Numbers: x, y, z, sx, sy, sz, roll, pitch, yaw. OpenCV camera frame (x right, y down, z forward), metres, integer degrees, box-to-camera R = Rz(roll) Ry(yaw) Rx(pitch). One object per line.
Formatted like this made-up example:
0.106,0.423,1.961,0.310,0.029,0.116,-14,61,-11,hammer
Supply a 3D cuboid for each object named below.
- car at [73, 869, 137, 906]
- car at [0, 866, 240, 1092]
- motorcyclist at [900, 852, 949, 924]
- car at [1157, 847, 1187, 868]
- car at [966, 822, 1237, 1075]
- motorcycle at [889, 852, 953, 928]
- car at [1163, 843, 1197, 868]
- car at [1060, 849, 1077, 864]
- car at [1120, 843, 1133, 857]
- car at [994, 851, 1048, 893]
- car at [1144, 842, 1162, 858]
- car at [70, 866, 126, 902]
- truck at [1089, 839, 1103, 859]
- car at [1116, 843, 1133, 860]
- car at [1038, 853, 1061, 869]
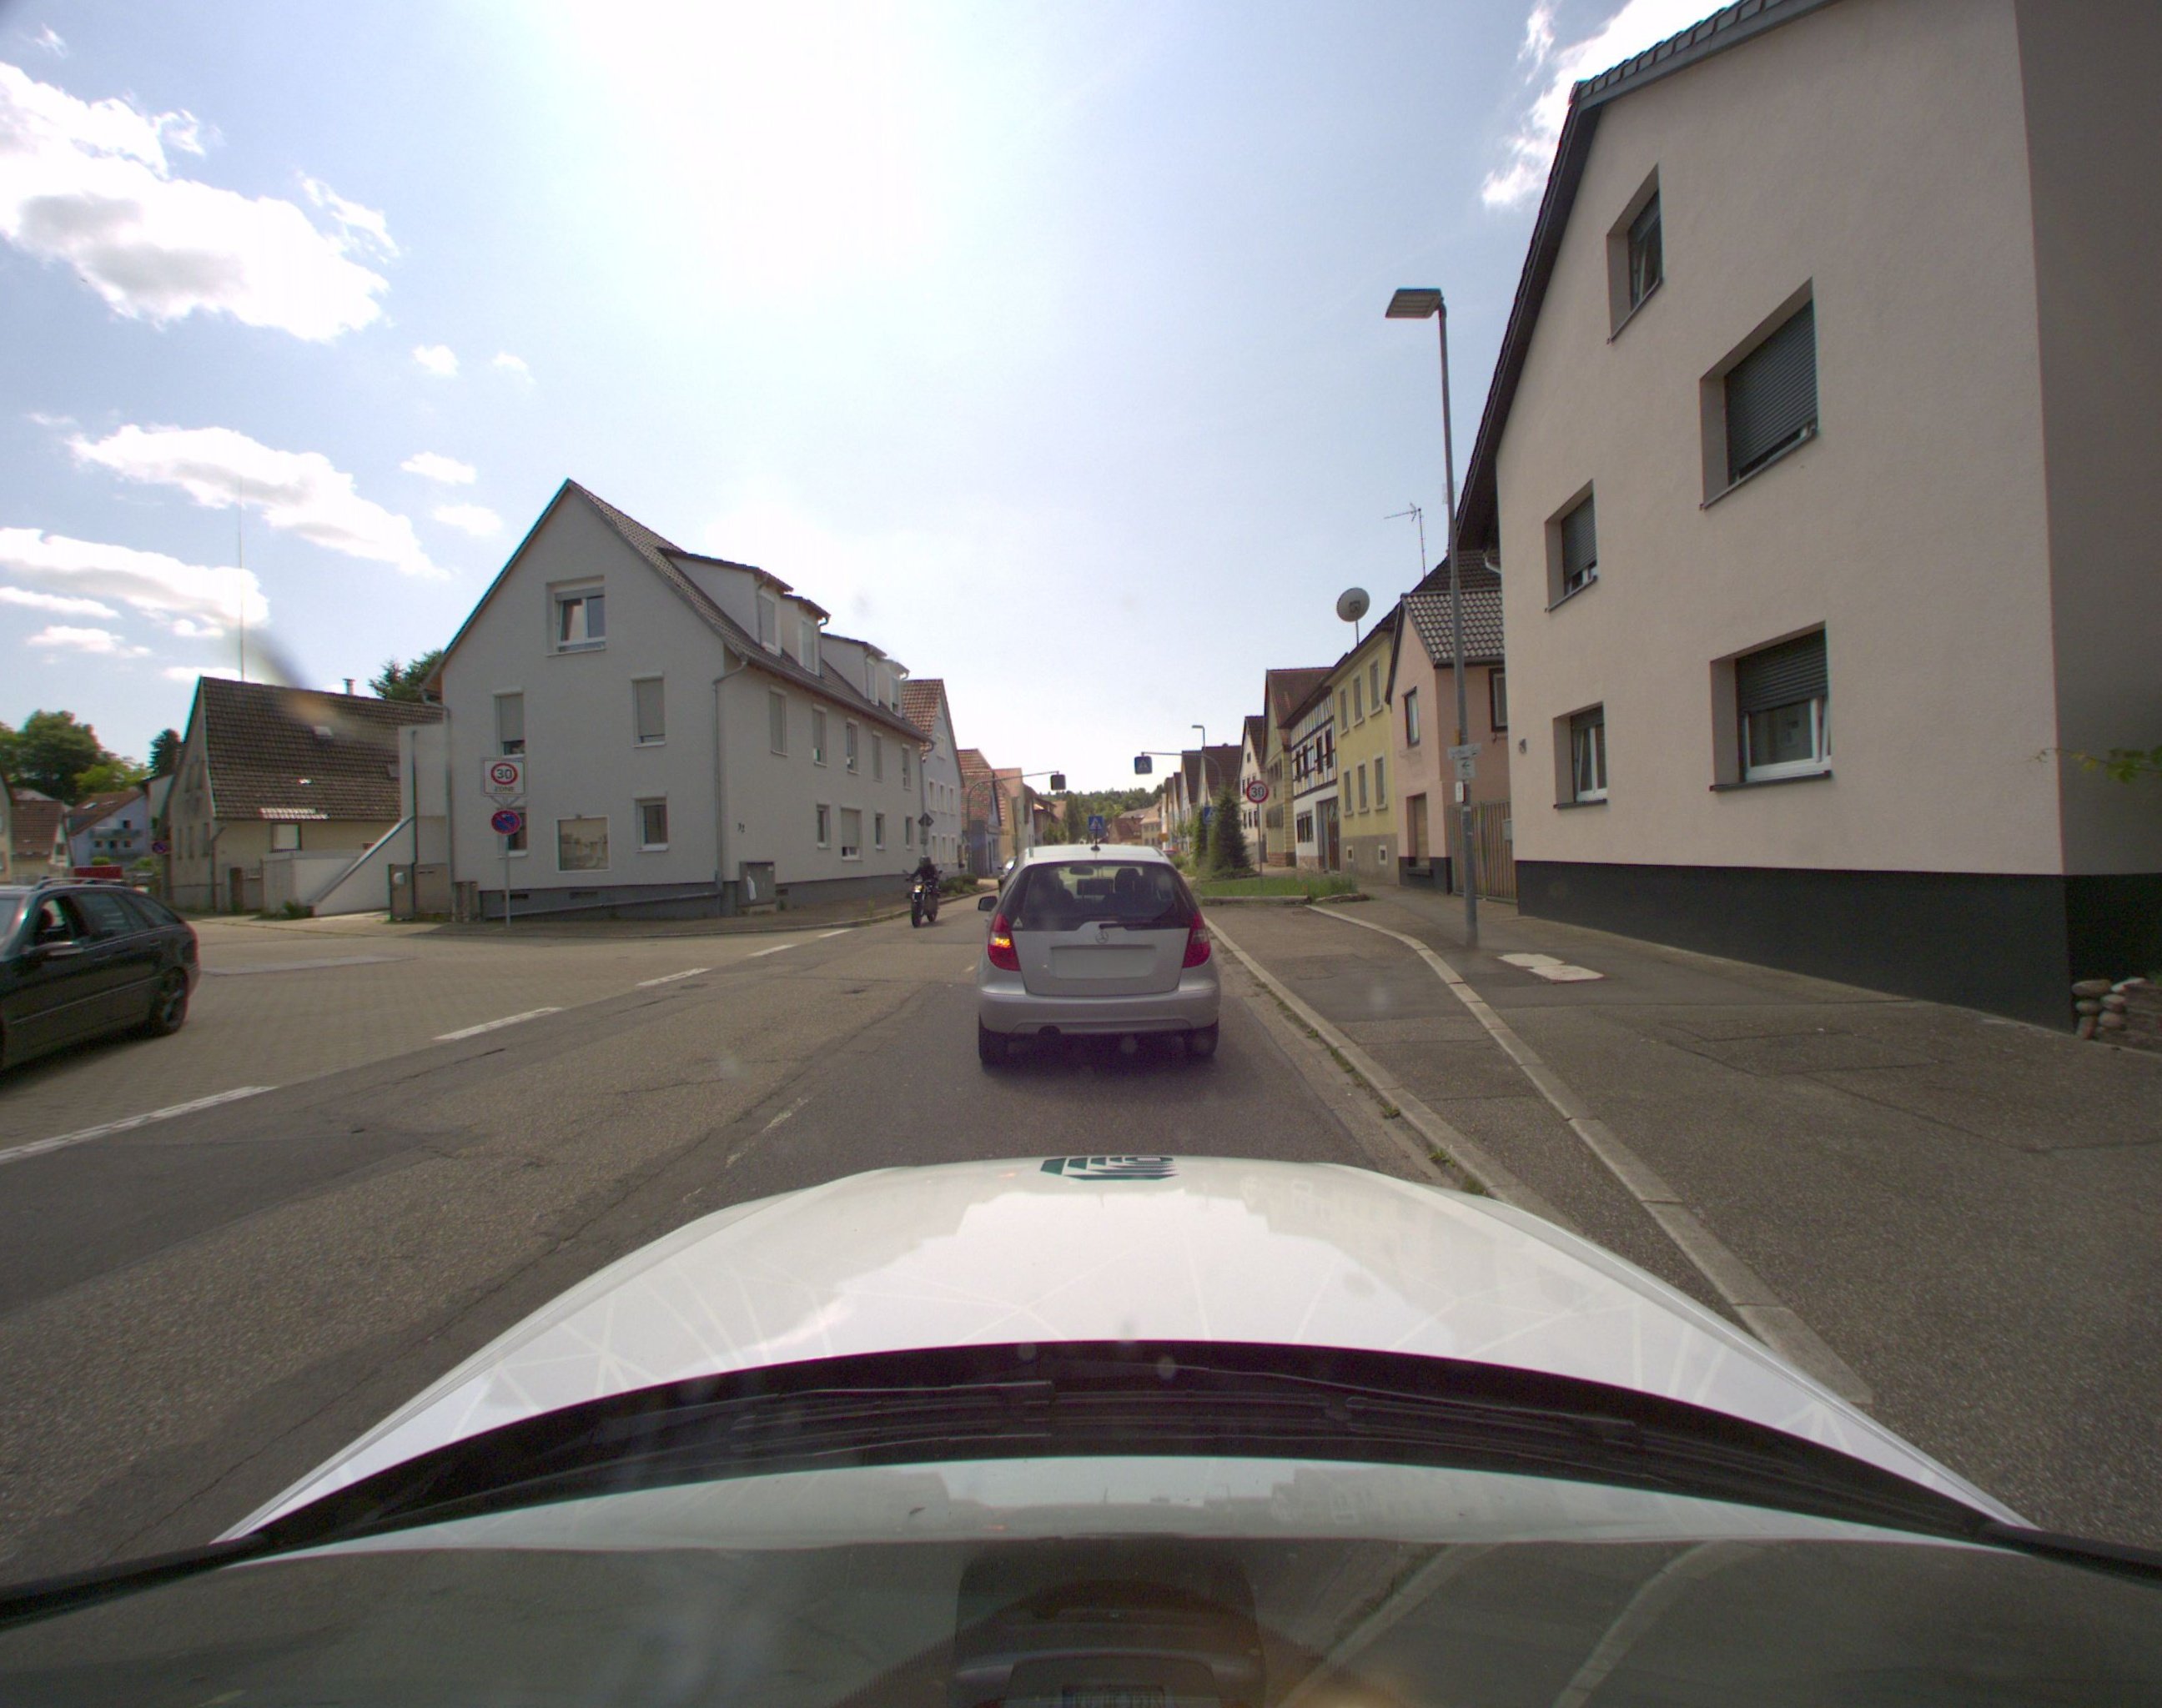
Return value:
-41.998,1.436,35.018,3.431,1.530,1.500,-3,-2,36,car
-8.259,0.840,5.872,1.819,1.412,4.591,0,-2,-30,car
-3.516,0.747,18.375,0.893,1.554,0.807,-1,0,3,motorcyclist
6.917,0.299,62.278,1.985,1.508,4.002,-1,-2,2,car
0.011,0.631,7.254,1.807,1.643,3.723,0,-1,-4,car
-3.544,0.762,18.248,0.876,1.561,1.969,-1,0,4,motorcycle
6.729,0.122,55.673,1.985,1.508,4.002,-1,-2,2,car
-1.365,0.337,92.255,1.660,1.596,4.002,-1,-2,3,car
7.190,-0.647,128.179,1.986,2.014,4.002,-1,-2,2,car
-2.331,0.724,32.273,1.492,1.540,3.861,0,-2,5,car
9.337,-0.509,105.798,1.986,1.816,4.001,-1,-2,1,car
-46.314,1.411,38.360,3.431,1.635,1.406,-3,-2,36,car
2.206,-0.701,117.926,1.986,2.537,6.741,-1,-2,2,truck
5.214,-0.301,98.311,1.986,1.816,4.001,-1,-2,1,car
-2.865,0.660,73.315,1.989,1.321,3.704,-1,-2,-3,car
